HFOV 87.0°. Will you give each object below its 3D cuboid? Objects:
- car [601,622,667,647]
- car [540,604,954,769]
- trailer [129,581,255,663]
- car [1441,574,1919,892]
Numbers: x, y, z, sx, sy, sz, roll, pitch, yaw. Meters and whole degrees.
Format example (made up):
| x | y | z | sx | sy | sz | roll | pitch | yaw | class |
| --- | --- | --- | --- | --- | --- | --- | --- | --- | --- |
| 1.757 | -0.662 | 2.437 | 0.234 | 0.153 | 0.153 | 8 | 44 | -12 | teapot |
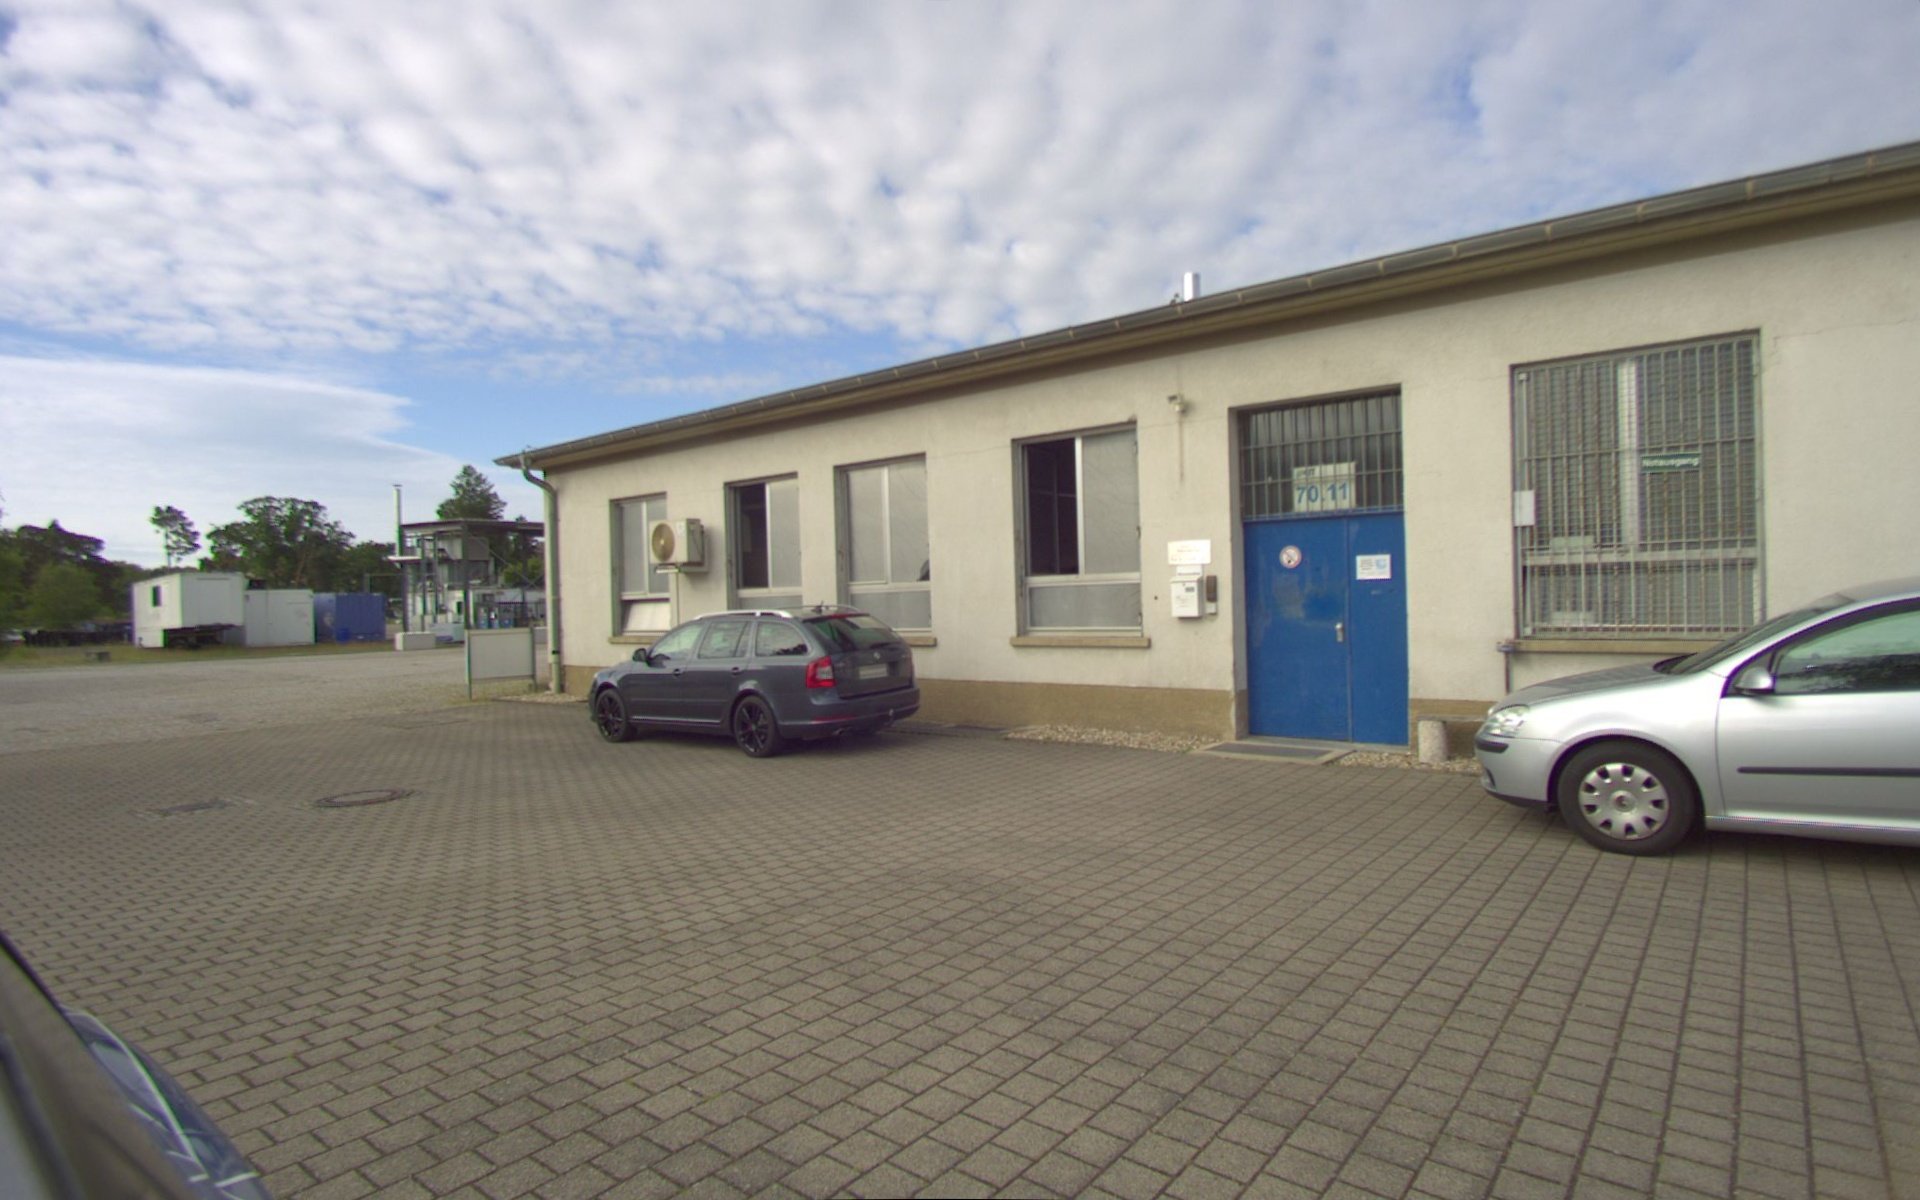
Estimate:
| x | y | z | sx | sy | sz | roll | pitch | yaw | class |
| --- | --- | --- | --- | --- | --- | --- | --- | --- | --- |
| -20.155 | 2.123 | 62.503 | 3.992 | 1.484 | 1.910 | -2 | -2 | 37 | car |
| -2.550 | 0.866 | 11.399 | 4.804 | 1.472 | 1.906 | -2 | -1 | 38 | car |
| -38.102 | 1.150 | 50.023 | 10.772 | 3.690 | 2.839 | -2 | -1 | 41 | trailer |
| 5.092 | 0.593 | 5.257 | 4.361 | 1.450 | 1.906 | -2 | -1 | 38 | car |
